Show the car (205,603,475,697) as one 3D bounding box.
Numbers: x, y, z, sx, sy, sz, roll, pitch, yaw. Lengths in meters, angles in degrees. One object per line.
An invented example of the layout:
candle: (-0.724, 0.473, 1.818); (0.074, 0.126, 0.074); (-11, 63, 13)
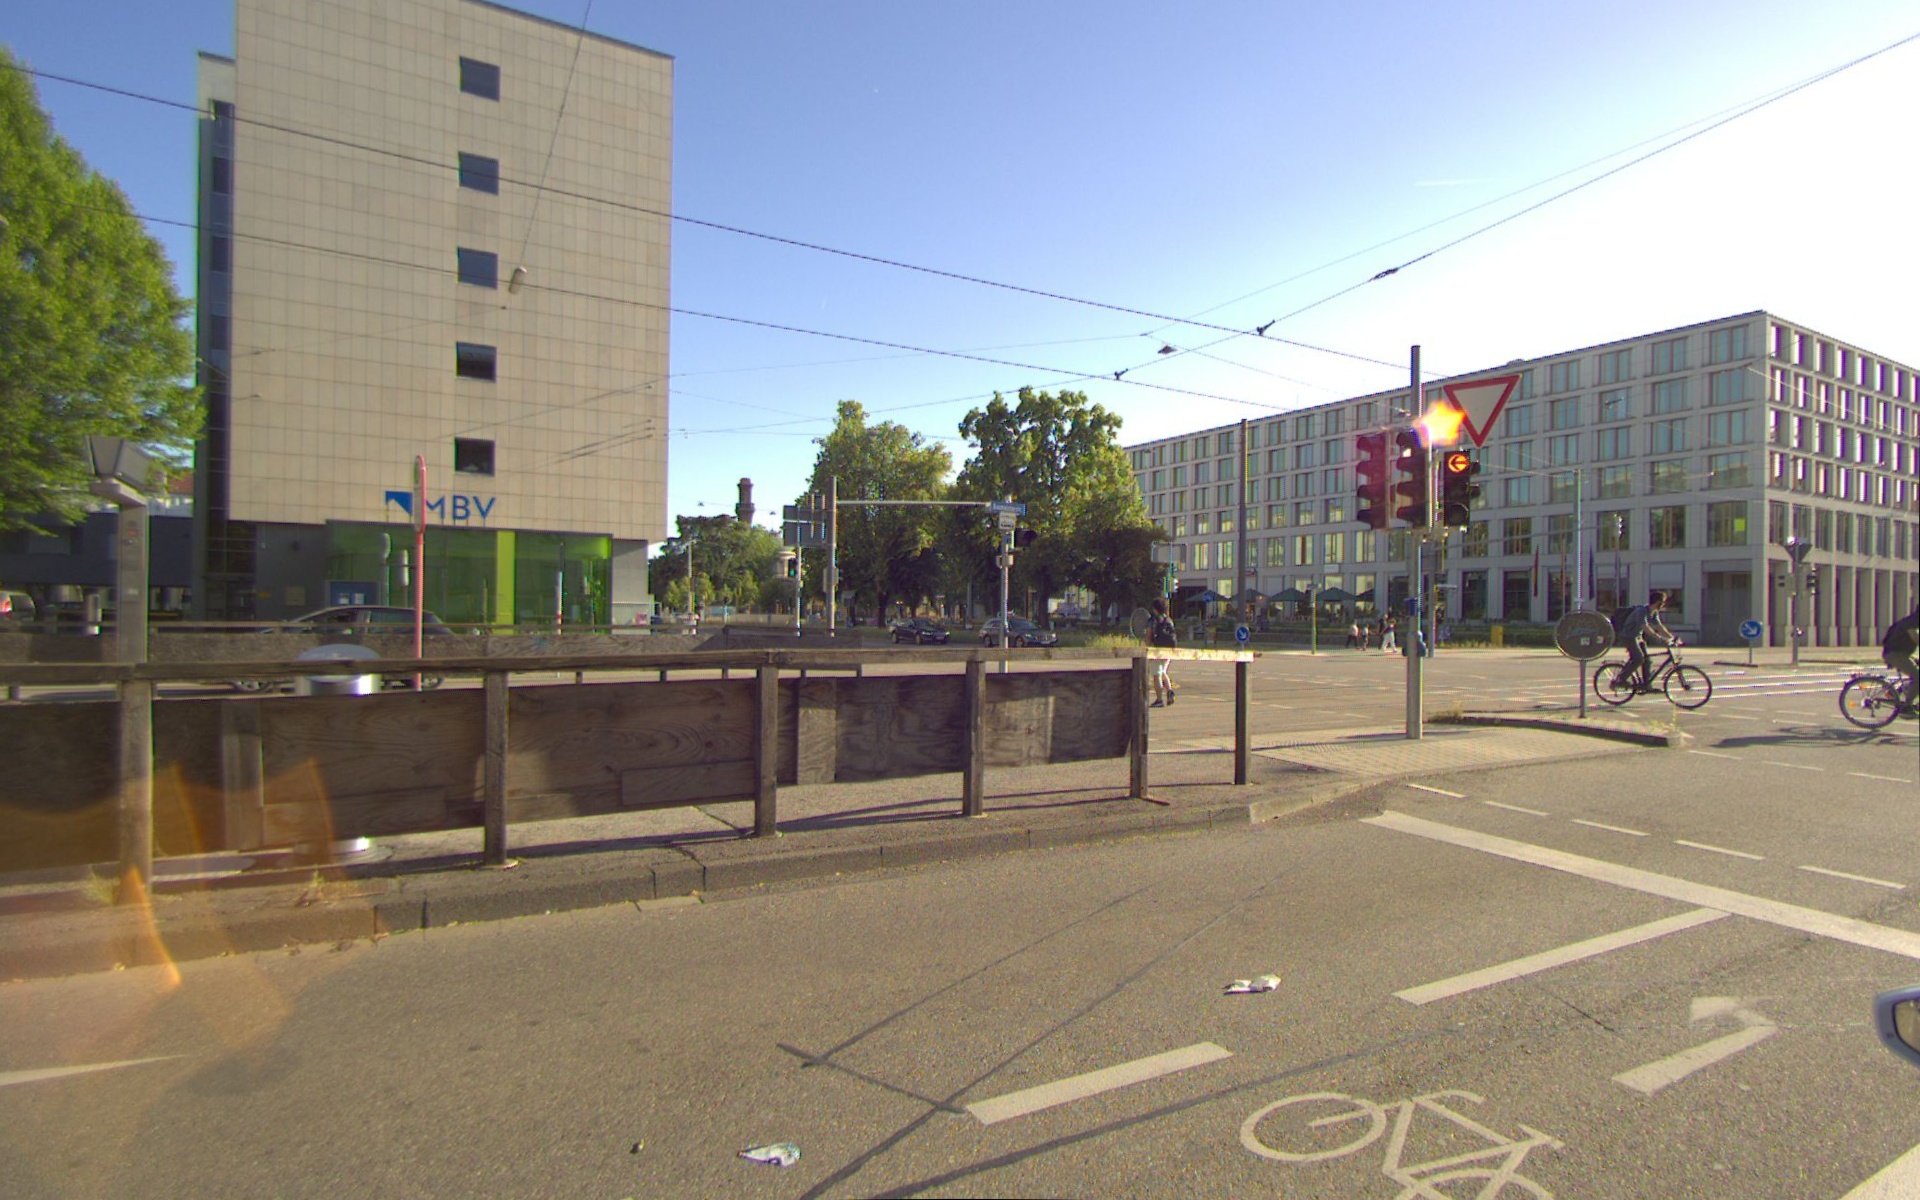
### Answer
car: (-11.057, 0.854, 18.054); (3.963, 1.508, 1.631); (2, -1, -37)

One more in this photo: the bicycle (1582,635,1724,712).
bicycle: (11.781, 1.213, 17.148); (0.756, 1.174, 1.866); (-1, 0, -26)

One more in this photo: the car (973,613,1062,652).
car: (2.680, 1.505, 47.752); (1.833, 1.602, 4.486); (1, 1, -34)

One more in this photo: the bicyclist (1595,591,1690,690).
bicyclist: (11.714, 0.675, 17.256); (0.756, 1.616, 1.120); (-1, 0, -26)

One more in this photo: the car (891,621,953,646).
car: (-2.165, 1.858, 56.248); (1.755, 1.311, 4.209); (1, -1, -30)

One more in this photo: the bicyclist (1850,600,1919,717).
bicyclist: (12.949, 0.777, 13.698); (0.756, 1.533, 0.999); (-1, 1, -26)

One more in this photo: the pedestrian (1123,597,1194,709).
pedestrian: (3.195, 0.835, 16.179); (0.819, 1.739, 0.753); (1, -1, -34)

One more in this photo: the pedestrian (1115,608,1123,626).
pedestrian: (15.519, 1.663, 98.133); (0.556, 1.691, 0.537); (2, 0, -33)

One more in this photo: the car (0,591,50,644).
car: (-27.724, 0.454, 27.797); (3.371, 1.431, 1.562); (2, 0, -20)

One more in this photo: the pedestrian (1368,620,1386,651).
pedestrian: (22.286, 1.883, 53.668); (0.615, 1.666, 0.690); (1, -1, -34)

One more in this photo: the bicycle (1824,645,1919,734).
bicycle: (12.998, 1.214, 13.618); (0.756, 1.100, 1.807); (-1, 1, -26)

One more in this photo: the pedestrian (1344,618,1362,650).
pedestrian: (20.991, 1.814, 53.654); (0.612, 1.666, 0.692); (1, -1, -23)

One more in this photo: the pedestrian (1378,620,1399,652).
pedestrian: (22.140, 1.862, 51.927); (0.615, 1.666, 0.787); (1, -1, -34)
